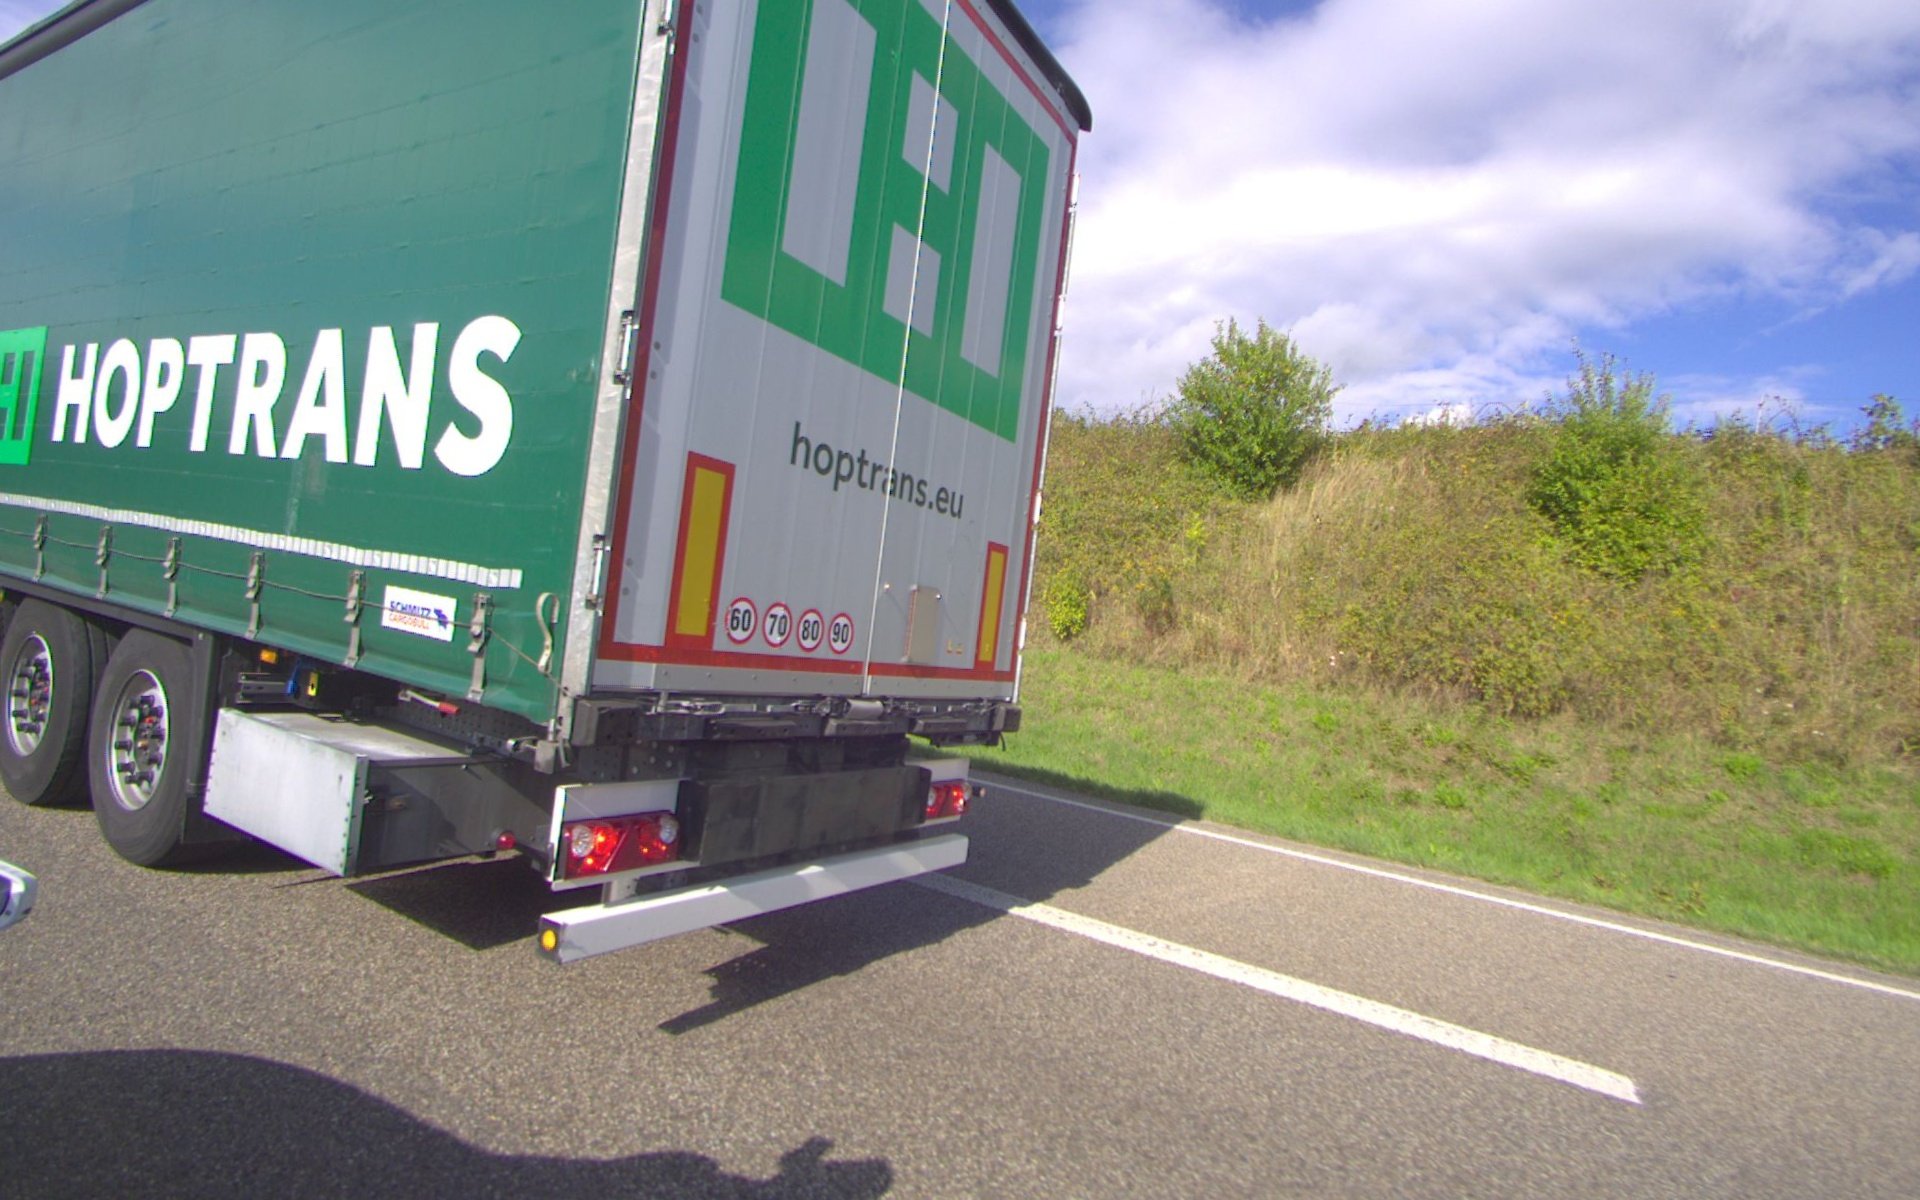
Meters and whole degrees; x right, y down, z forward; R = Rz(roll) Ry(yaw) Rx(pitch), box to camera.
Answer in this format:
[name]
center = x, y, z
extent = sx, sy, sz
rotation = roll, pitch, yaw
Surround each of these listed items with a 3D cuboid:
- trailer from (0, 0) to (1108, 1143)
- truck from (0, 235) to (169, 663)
[trailer]
center = -5.758, -1.070, 7.154
extent = 13.173, 3.914, 2.666
rotation = 6, -1, 32
[truck]
center = -11.993, -1.742, 11.071
extent = 6.881, 3.914, 2.651
rotation = 6, -1, 32
